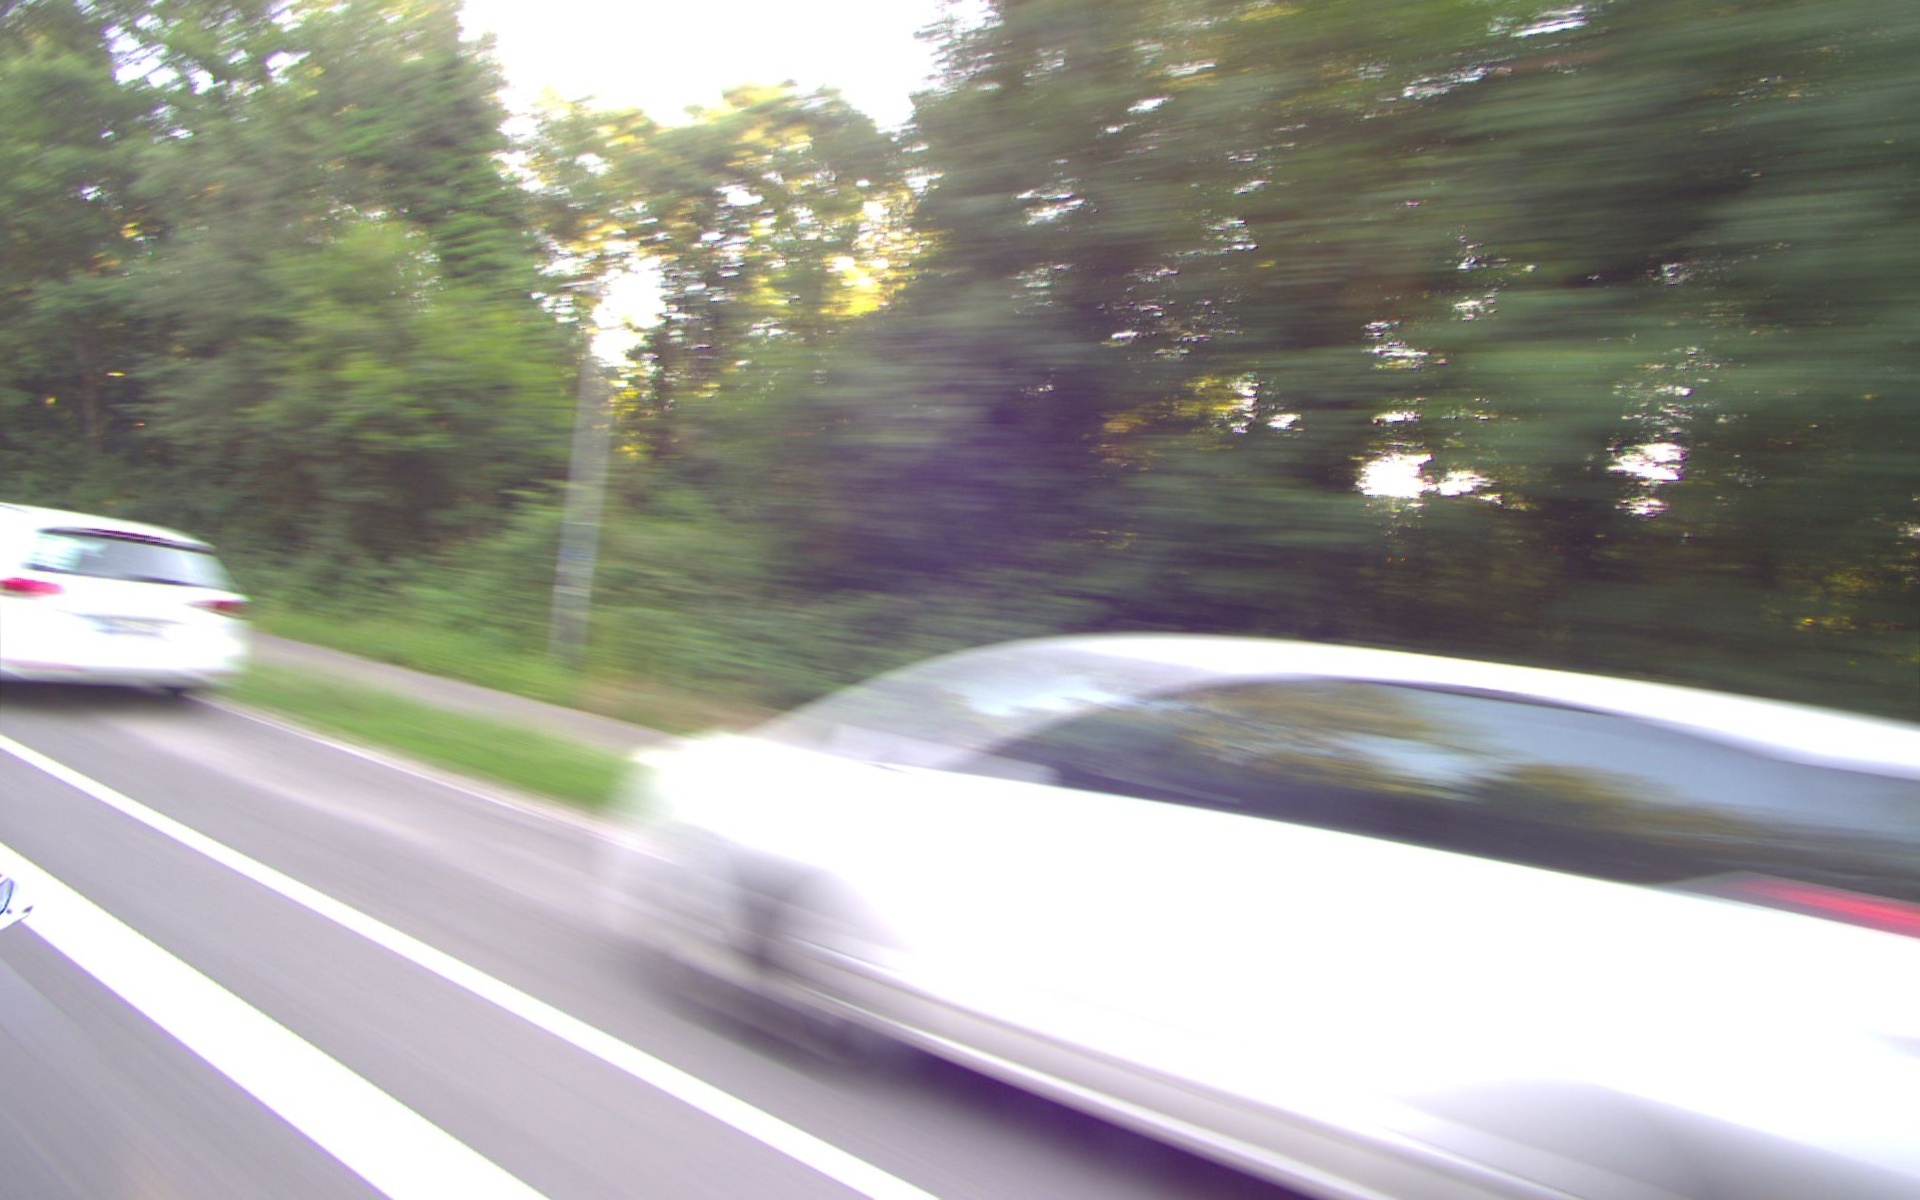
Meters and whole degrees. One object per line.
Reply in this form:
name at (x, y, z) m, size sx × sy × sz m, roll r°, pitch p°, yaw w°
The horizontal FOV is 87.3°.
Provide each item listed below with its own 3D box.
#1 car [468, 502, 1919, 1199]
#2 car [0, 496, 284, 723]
car at (0.629, 0.834, 3.653) m, size 4.643 × 1.785 × 1.857 m, roll 7°, pitch -2°, yaw 29°
car at (-8.149, -0.104, 8.660) m, size 4.677 × 1.511 × 1.848 m, roll 7°, pitch -1°, yaw 29°
